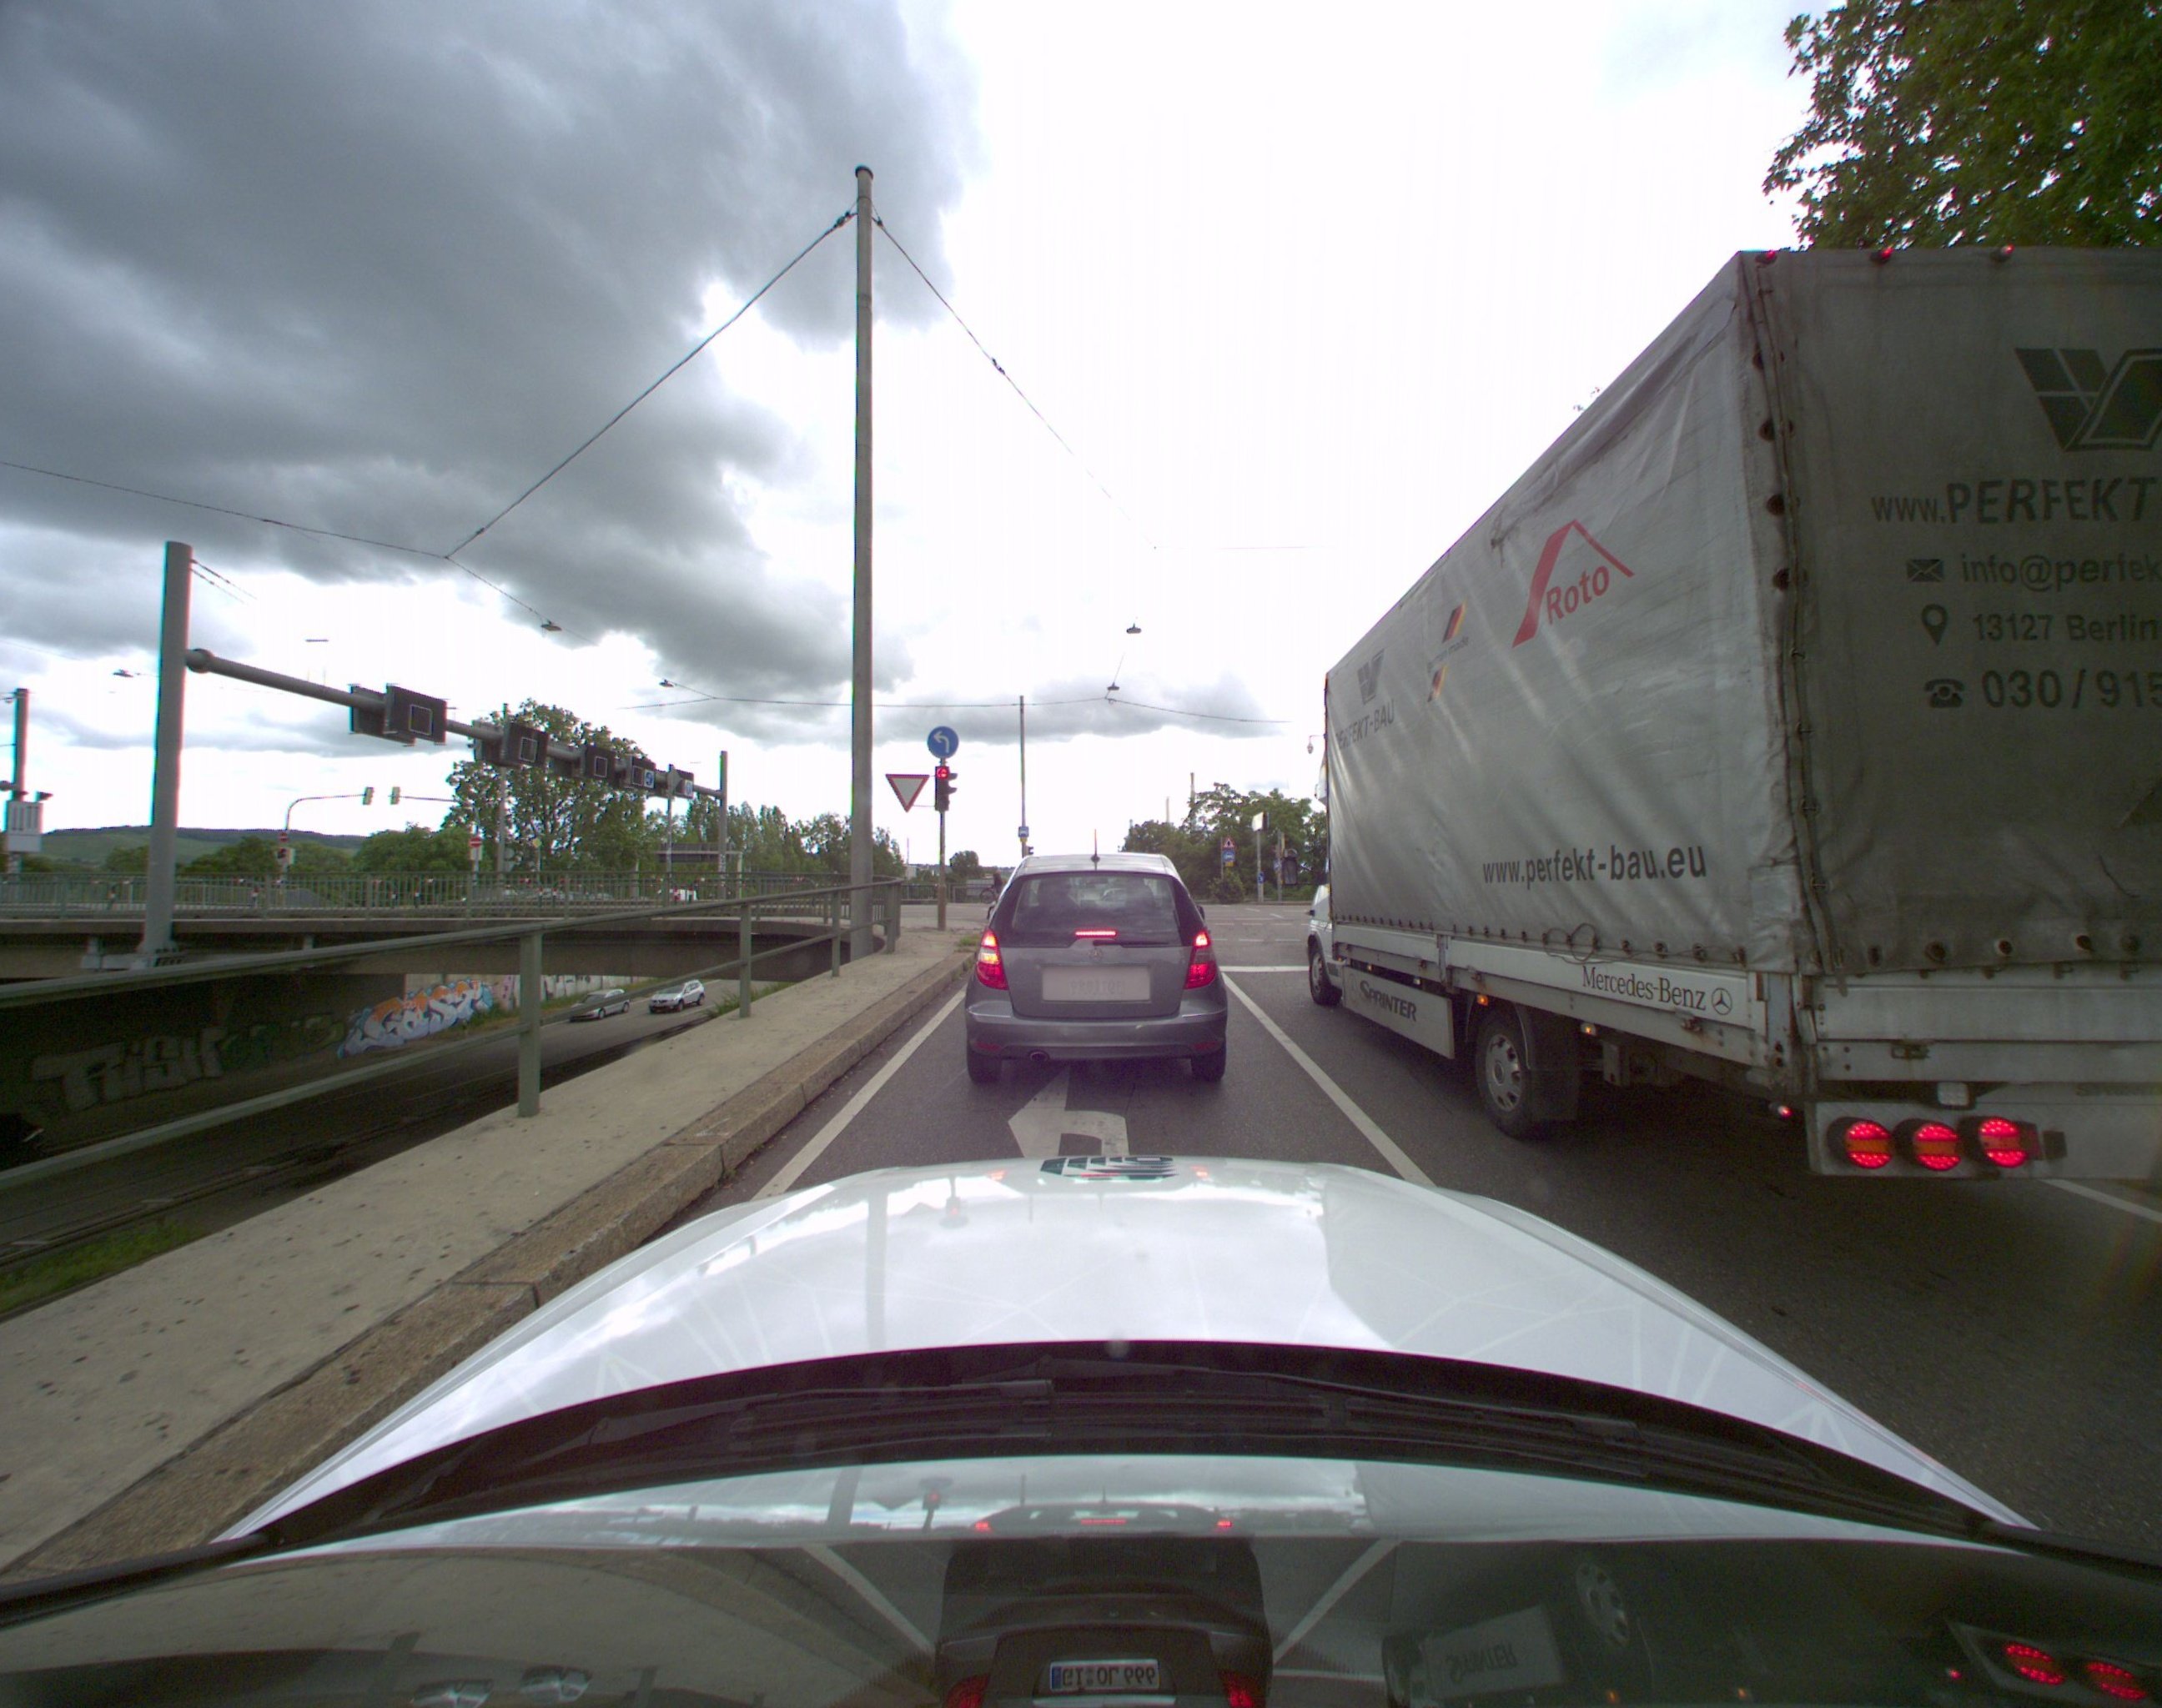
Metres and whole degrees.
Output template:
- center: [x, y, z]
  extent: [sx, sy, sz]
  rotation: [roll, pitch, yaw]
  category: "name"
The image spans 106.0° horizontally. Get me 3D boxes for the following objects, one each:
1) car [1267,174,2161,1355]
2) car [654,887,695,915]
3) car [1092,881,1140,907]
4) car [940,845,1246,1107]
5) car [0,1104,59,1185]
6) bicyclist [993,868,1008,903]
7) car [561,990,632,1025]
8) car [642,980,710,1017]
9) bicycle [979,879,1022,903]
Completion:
- center: [3.361, -0.242, 5.835]
  extent: [2.648, 3.329, 7.094]
  rotation: [-1, -1, 2]
  category: "car"
- center: [-36.334, 4.205, 72.878]
  extent: [1.850, 2.215, 3.660]
  rotation: [-1, 0, -3]
  category: "car"
- center: [2.683, 3.118, 63.994]
  extent: [2.004, 1.771, 5.207]
  rotation: [-1, 0, -18]
  category: "car"
- center: [0.209, 0.733, 6.993]
  extent: [1.849, 1.588, 4.005]
  rotation: [-1, 1, 4]
  category: "car"
- center: [-28.499, 7.519, 19.559]
  extent: [1.986, 1.751, 4.591]
  rotation: [-1, -2, 2]
  category: "car"
- center: [-3.978, 1.537, 40.296]
  extent: [0.653, 1.673, 0.867]
  rotation: [-1, 0, -9]
  category: "bicyclist"
- center: [-28.217, 8.926, 47.569]
  extent: [1.676, 1.457, 3.922]
  rotation: [-1, -2, 2]
  category: "car"
- center: [-24.732, 8.799, 49.908]
  extent: [1.879, 1.616, 4.307]
  rotation: [-1, -2, 2]
  category: "car"
- center: [-3.984, 1.823, 40.281]
  extent: [2.032, 1.124, 0.926]
  rotation: [-1, 0, -10]
  category: "bicycle"
